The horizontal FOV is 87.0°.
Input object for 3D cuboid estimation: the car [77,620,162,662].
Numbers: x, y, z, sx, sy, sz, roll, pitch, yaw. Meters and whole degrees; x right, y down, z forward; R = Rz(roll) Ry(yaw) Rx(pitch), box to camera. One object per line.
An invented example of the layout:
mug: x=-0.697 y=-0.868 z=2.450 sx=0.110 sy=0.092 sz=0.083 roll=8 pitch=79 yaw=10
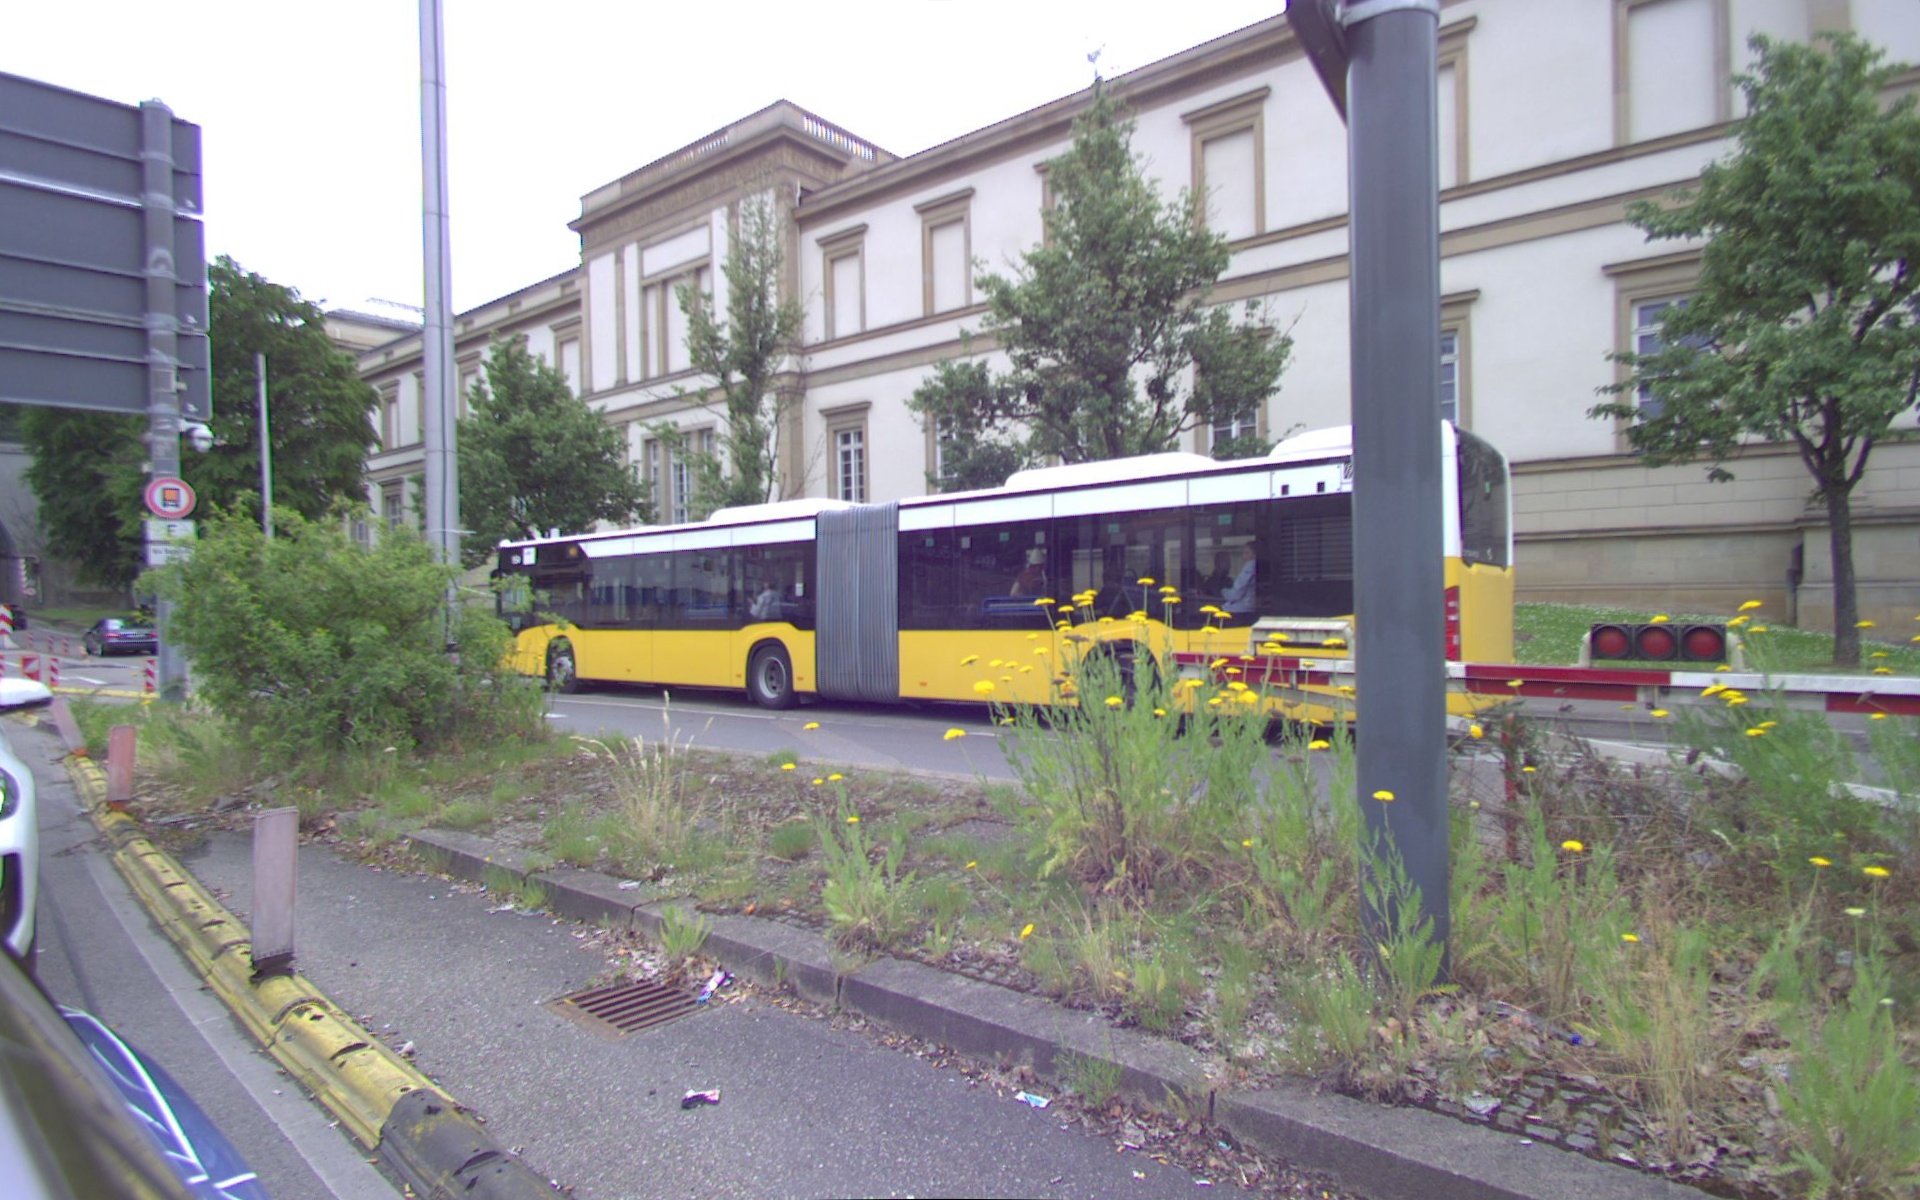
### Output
car: x=-32.440 y=1.542 z=39.026 sx=4.626 sy=1.482 sz=1.683 roll=-1 pitch=0 yaw=40

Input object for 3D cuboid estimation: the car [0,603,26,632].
car: x=-54.209 y=0.992 z=57.091 sx=3.879 sy=1.601 sz=1.680 roll=-1 pitch=0 yaw=40

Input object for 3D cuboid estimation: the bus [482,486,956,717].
bus: x=-4.736 y=0.086 z=17.932 sx=9.739 sy=3.137 sz=2.817 roll=-1 pitch=0 yaw=39

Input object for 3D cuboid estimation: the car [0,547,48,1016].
car: x=-5.249 y=0.673 z=4.172 sx=3.881 sy=1.603 sz=1.824 roll=-2 pitch=0 yaw=42

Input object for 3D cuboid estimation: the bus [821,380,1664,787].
bus: x=2.523 y=-0.064 z=11.831 sx=9.115 sy=3.137 sz=2.817 roll=-1 pitch=0 yaw=40
